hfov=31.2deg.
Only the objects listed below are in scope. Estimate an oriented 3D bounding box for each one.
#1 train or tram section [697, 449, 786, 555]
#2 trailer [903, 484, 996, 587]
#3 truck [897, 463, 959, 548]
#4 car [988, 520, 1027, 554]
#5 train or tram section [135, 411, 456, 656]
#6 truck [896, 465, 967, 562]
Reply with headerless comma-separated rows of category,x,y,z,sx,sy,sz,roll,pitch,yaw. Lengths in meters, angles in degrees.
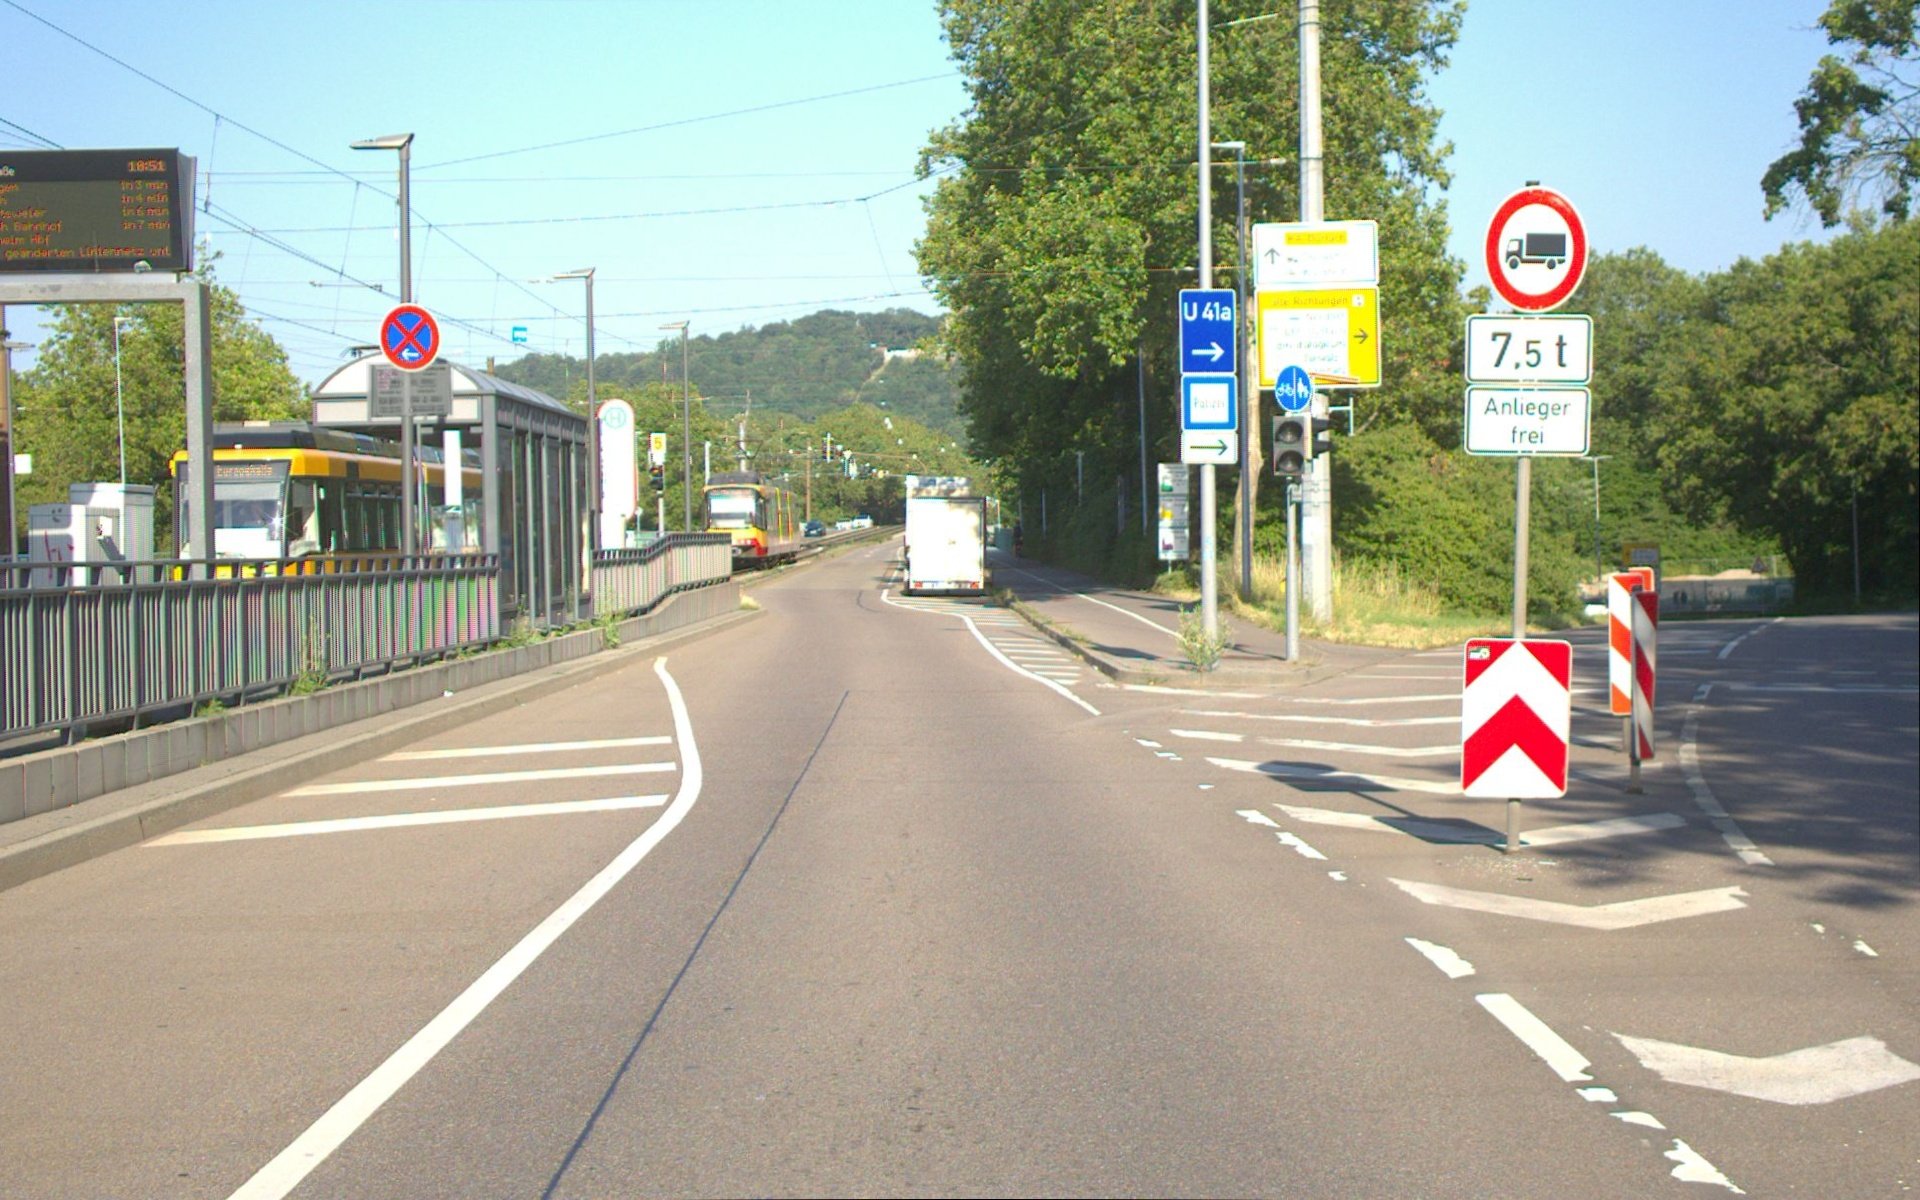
train or tram section,-8.928,-4.017,141.863,2.721,4.077,13.616,-2,1,0
trailer,-0.236,-1.762,92.832,2.251,2.685,5.947,0,1,2
truck,-1.512,-4.346,158.998,2.717,3.770,9.762,1,1,-1
car,2.044,-2.693,147.260,1.653,1.432,3.777,0,1,1
train or tram section,-12.026,-1.248,64.140,2.827,3.992,15.875,0,1,0
truck,-1.218,-3.544,140.776,2.742,3.770,10.090,1,1,-1
